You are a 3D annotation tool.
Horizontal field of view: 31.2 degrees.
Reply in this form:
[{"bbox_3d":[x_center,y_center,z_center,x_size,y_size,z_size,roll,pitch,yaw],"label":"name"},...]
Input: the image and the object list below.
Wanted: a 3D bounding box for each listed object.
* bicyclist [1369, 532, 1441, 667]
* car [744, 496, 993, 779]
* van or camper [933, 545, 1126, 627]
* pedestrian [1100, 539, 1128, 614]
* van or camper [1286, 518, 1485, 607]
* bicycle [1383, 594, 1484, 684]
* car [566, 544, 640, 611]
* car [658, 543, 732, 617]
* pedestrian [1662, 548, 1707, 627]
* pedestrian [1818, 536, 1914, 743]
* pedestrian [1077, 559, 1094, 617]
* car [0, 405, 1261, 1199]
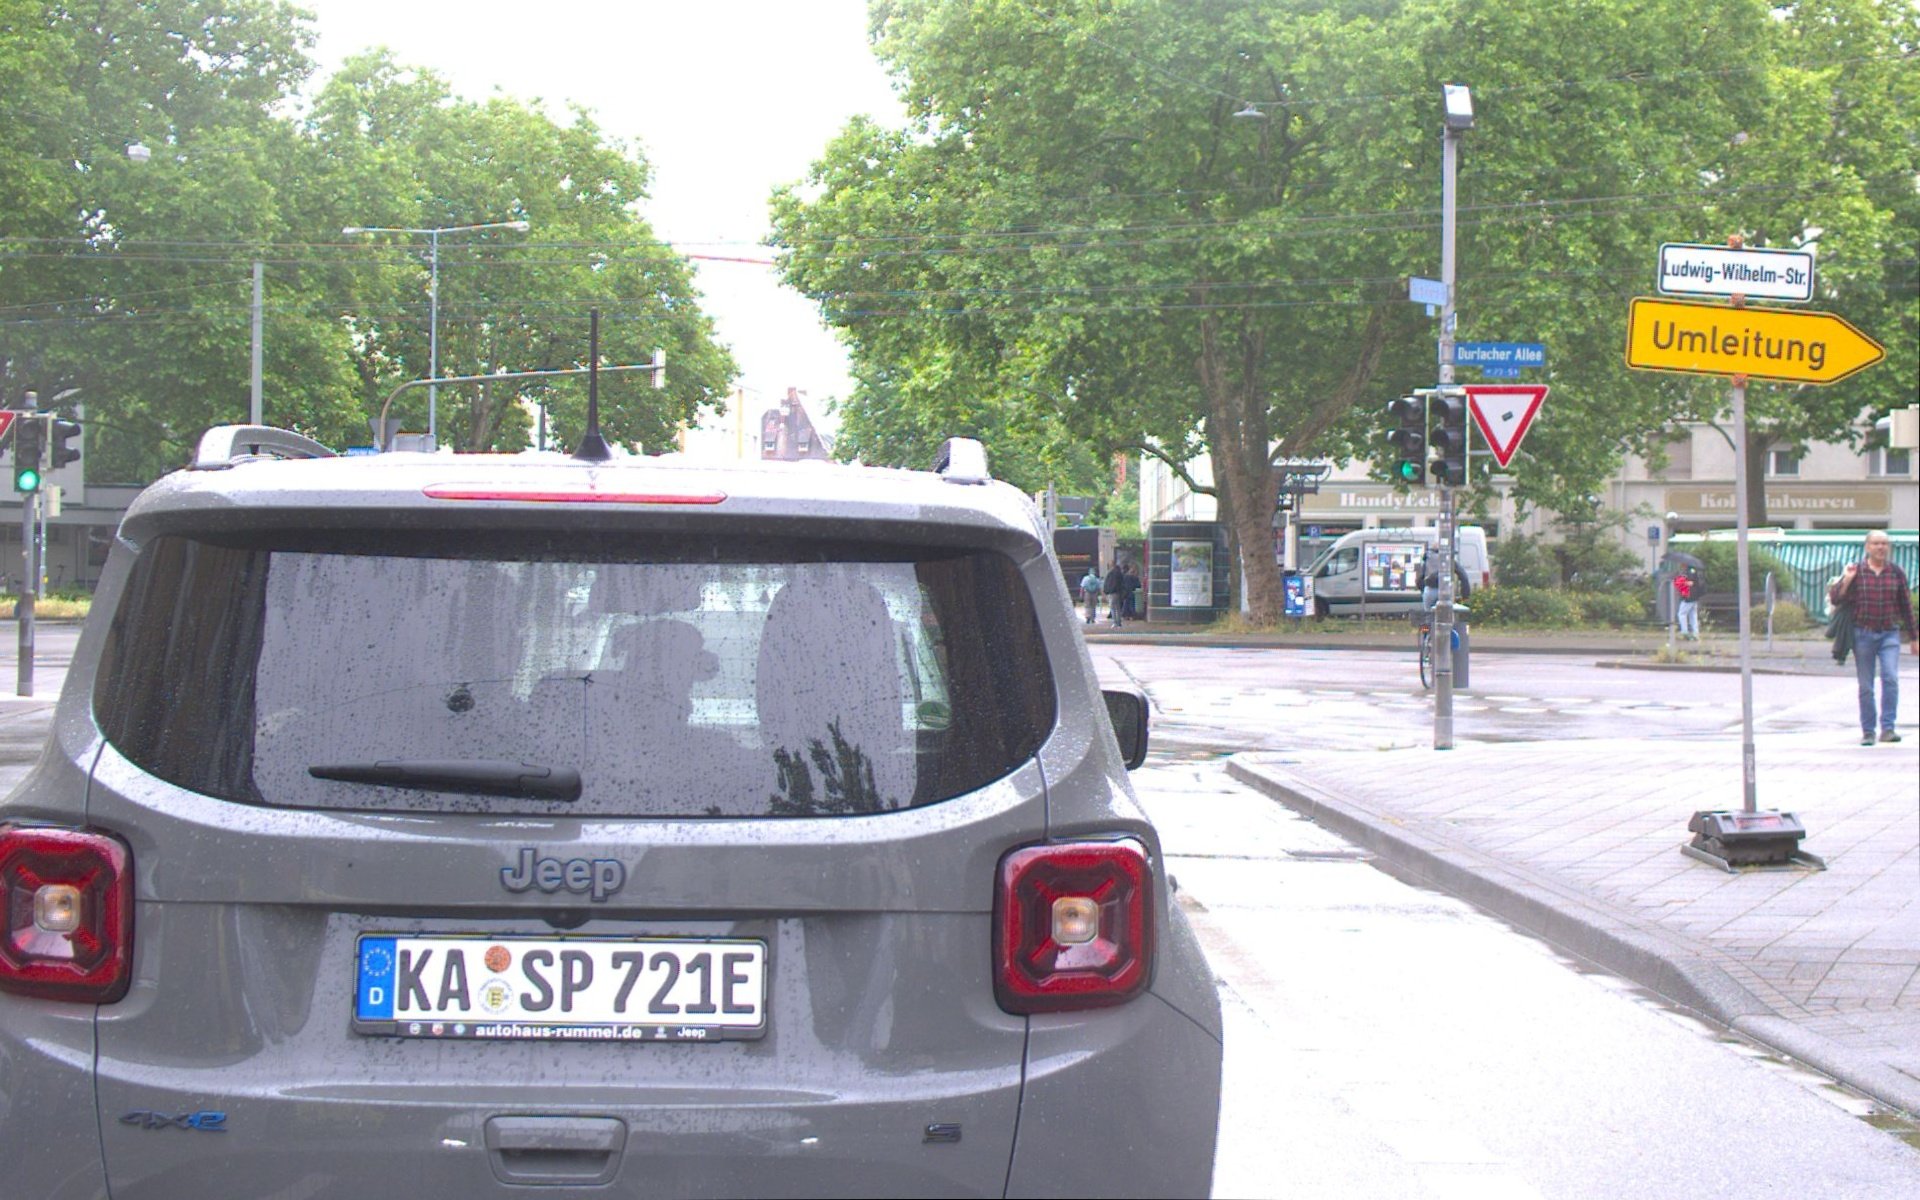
[{"bbox_3d":[5.382,-0.007,41.578,0.687,1.612,0.883,0,1,19],"label":"bicyclist"},{"bbox_3d":[-0.694,0.240,26.585,1.770,2.007,4.000,0,1,-1],"label":"car"},{"bbox_3d":[2.519,-0.533,124.648,6.535,2.902,2.491,1,1,24],"label":"van or camper"},{"bbox_3d":[4.148,-0.622,92.504,0.651,2.007,0.482,1,1,12],"label":"pedestrian"},{"bbox_3d":[11.674,-1.049,94.681,5.260,2.307,2.090,1,1,3],"label":"van or camper"},{"bbox_3d":[5.757,0.460,41.673,0.692,1.018,2.655,0,1,19],"label":"bicycle"},{"bbox_3d":[-9.096,-0.584,87.841,1.813,1.665,3.921,0,1,-5],"label":"car"},{"bbox_3d":[-6.395,-0.495,82.731,1.721,1.733,3.730,0,1,-5],"label":"car"},{"bbox_3d":[14.550,-0.248,69.023,0.674,1.548,0.760,1,-1,27],"label":"pedestrian"},{"bbox_3d":[7.797,0.326,29.627,0.786,1.753,0.945,0,1,14],"label":"pedestrian"},{"bbox_3d":[3.737,-0.356,102.314,0.458,1.698,0.424,0,1,0],"label":"pedestrian"},{"bbox_3d":[-0.578,0.580,6.114,1.775,1.681,3.848,0,1,-2],"label":"car"}]
